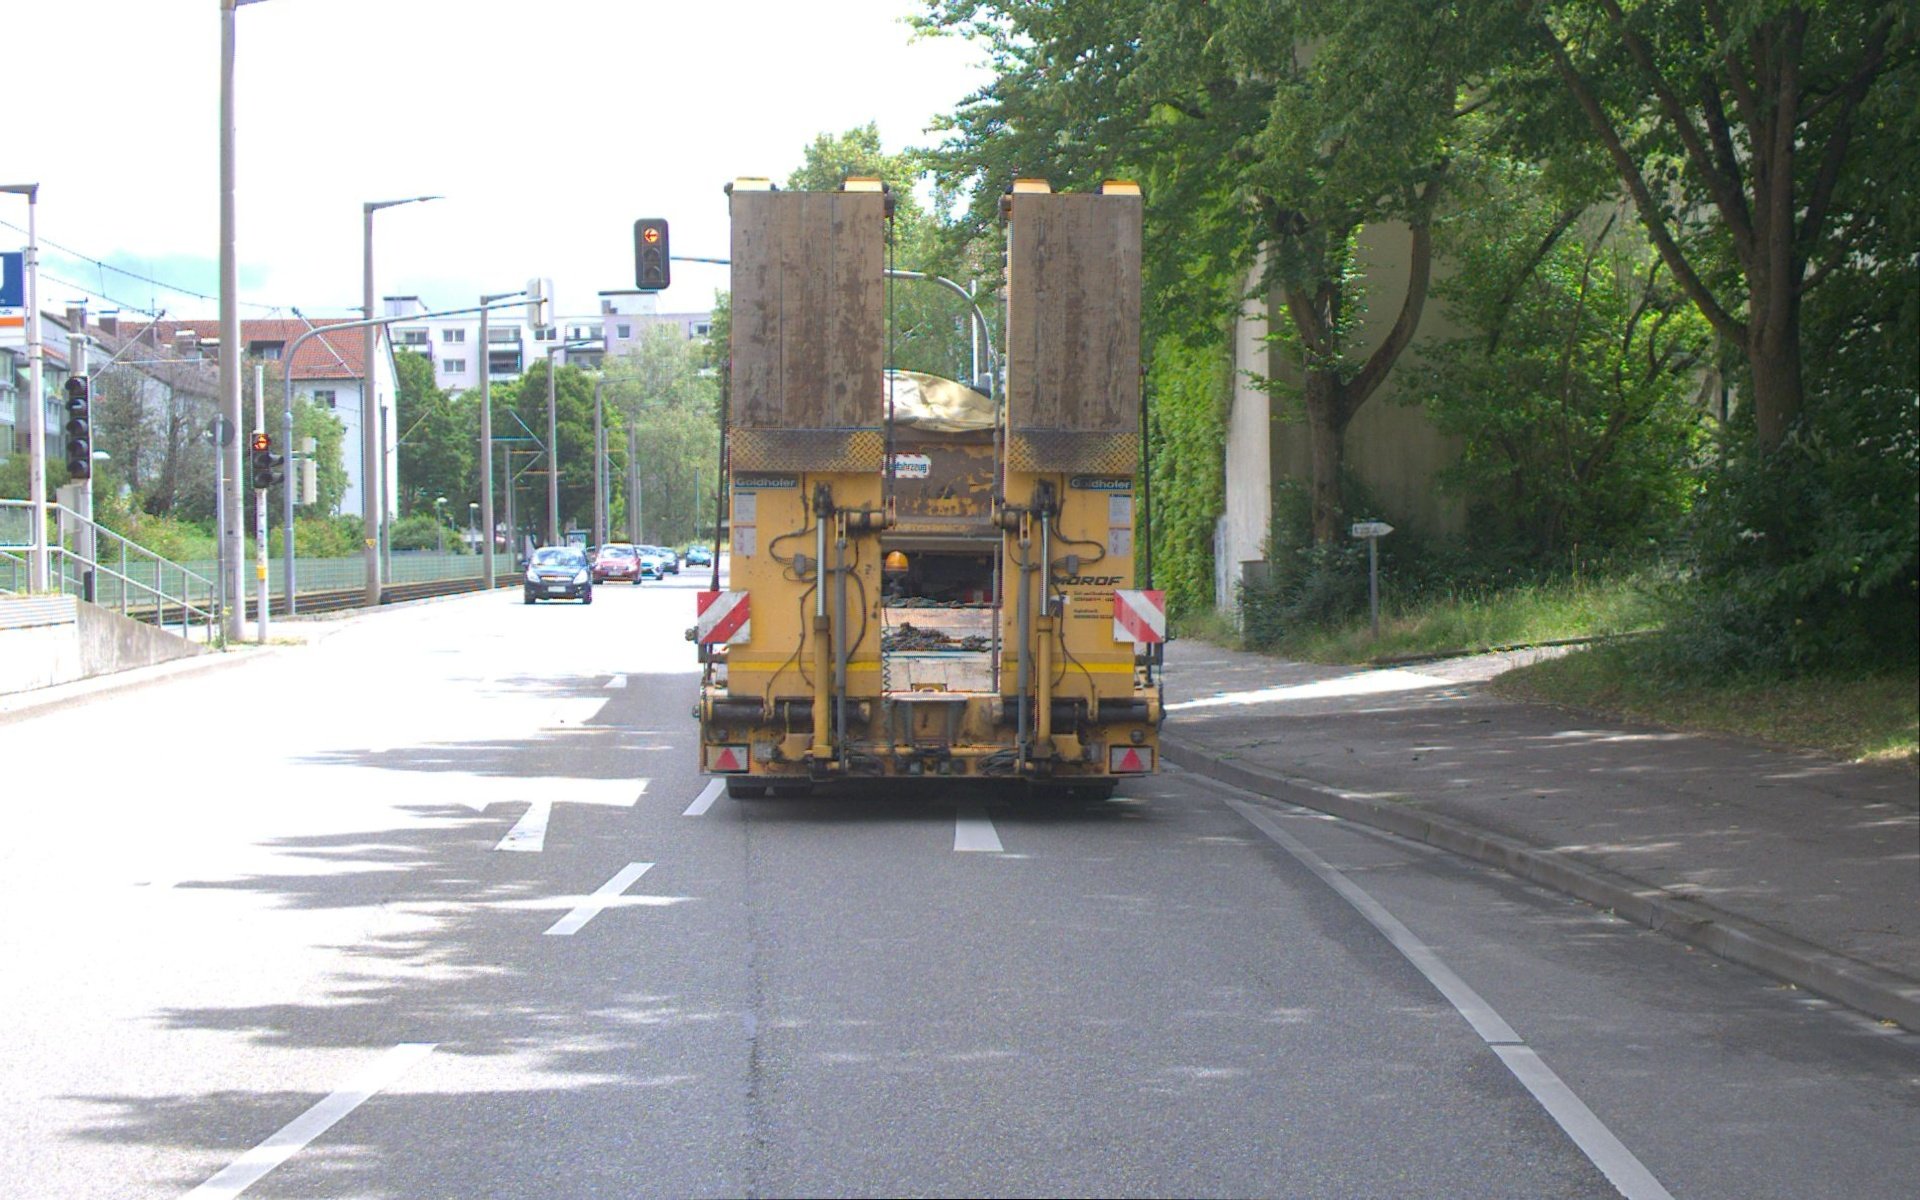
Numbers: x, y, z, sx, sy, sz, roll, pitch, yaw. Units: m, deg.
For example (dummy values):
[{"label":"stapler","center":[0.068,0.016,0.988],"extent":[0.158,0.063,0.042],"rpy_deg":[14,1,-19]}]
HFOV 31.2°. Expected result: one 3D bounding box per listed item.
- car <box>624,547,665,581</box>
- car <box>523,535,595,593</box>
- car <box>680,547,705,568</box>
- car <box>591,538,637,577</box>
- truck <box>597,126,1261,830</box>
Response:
[{"label":"car","center":[-13.692,-1.546,149.319],"extent":[1.667,1.448,3.680],"rpy_deg":[1,0,-4]},{"label":"car","center":[-10.309,-0.916,88.568],"extent":[1.667,1.448,3.680],"rpy_deg":[1,0,-4]},{"label":"car","center":[-18.648,-2.963,239.619],"extent":[1.667,1.448,3.680],"rpy_deg":[1,0,-4]},{"label":"car","center":[-13.415,-1.639,133.523],"extent":[1.667,1.448,3.680],"rpy_deg":[1,0,-4]},{"label":"truck","center":[-0.866,-0.792,25.198],"extent":[3.401,3.719,13.742],"rpy_deg":[-1,1,-7]}]
